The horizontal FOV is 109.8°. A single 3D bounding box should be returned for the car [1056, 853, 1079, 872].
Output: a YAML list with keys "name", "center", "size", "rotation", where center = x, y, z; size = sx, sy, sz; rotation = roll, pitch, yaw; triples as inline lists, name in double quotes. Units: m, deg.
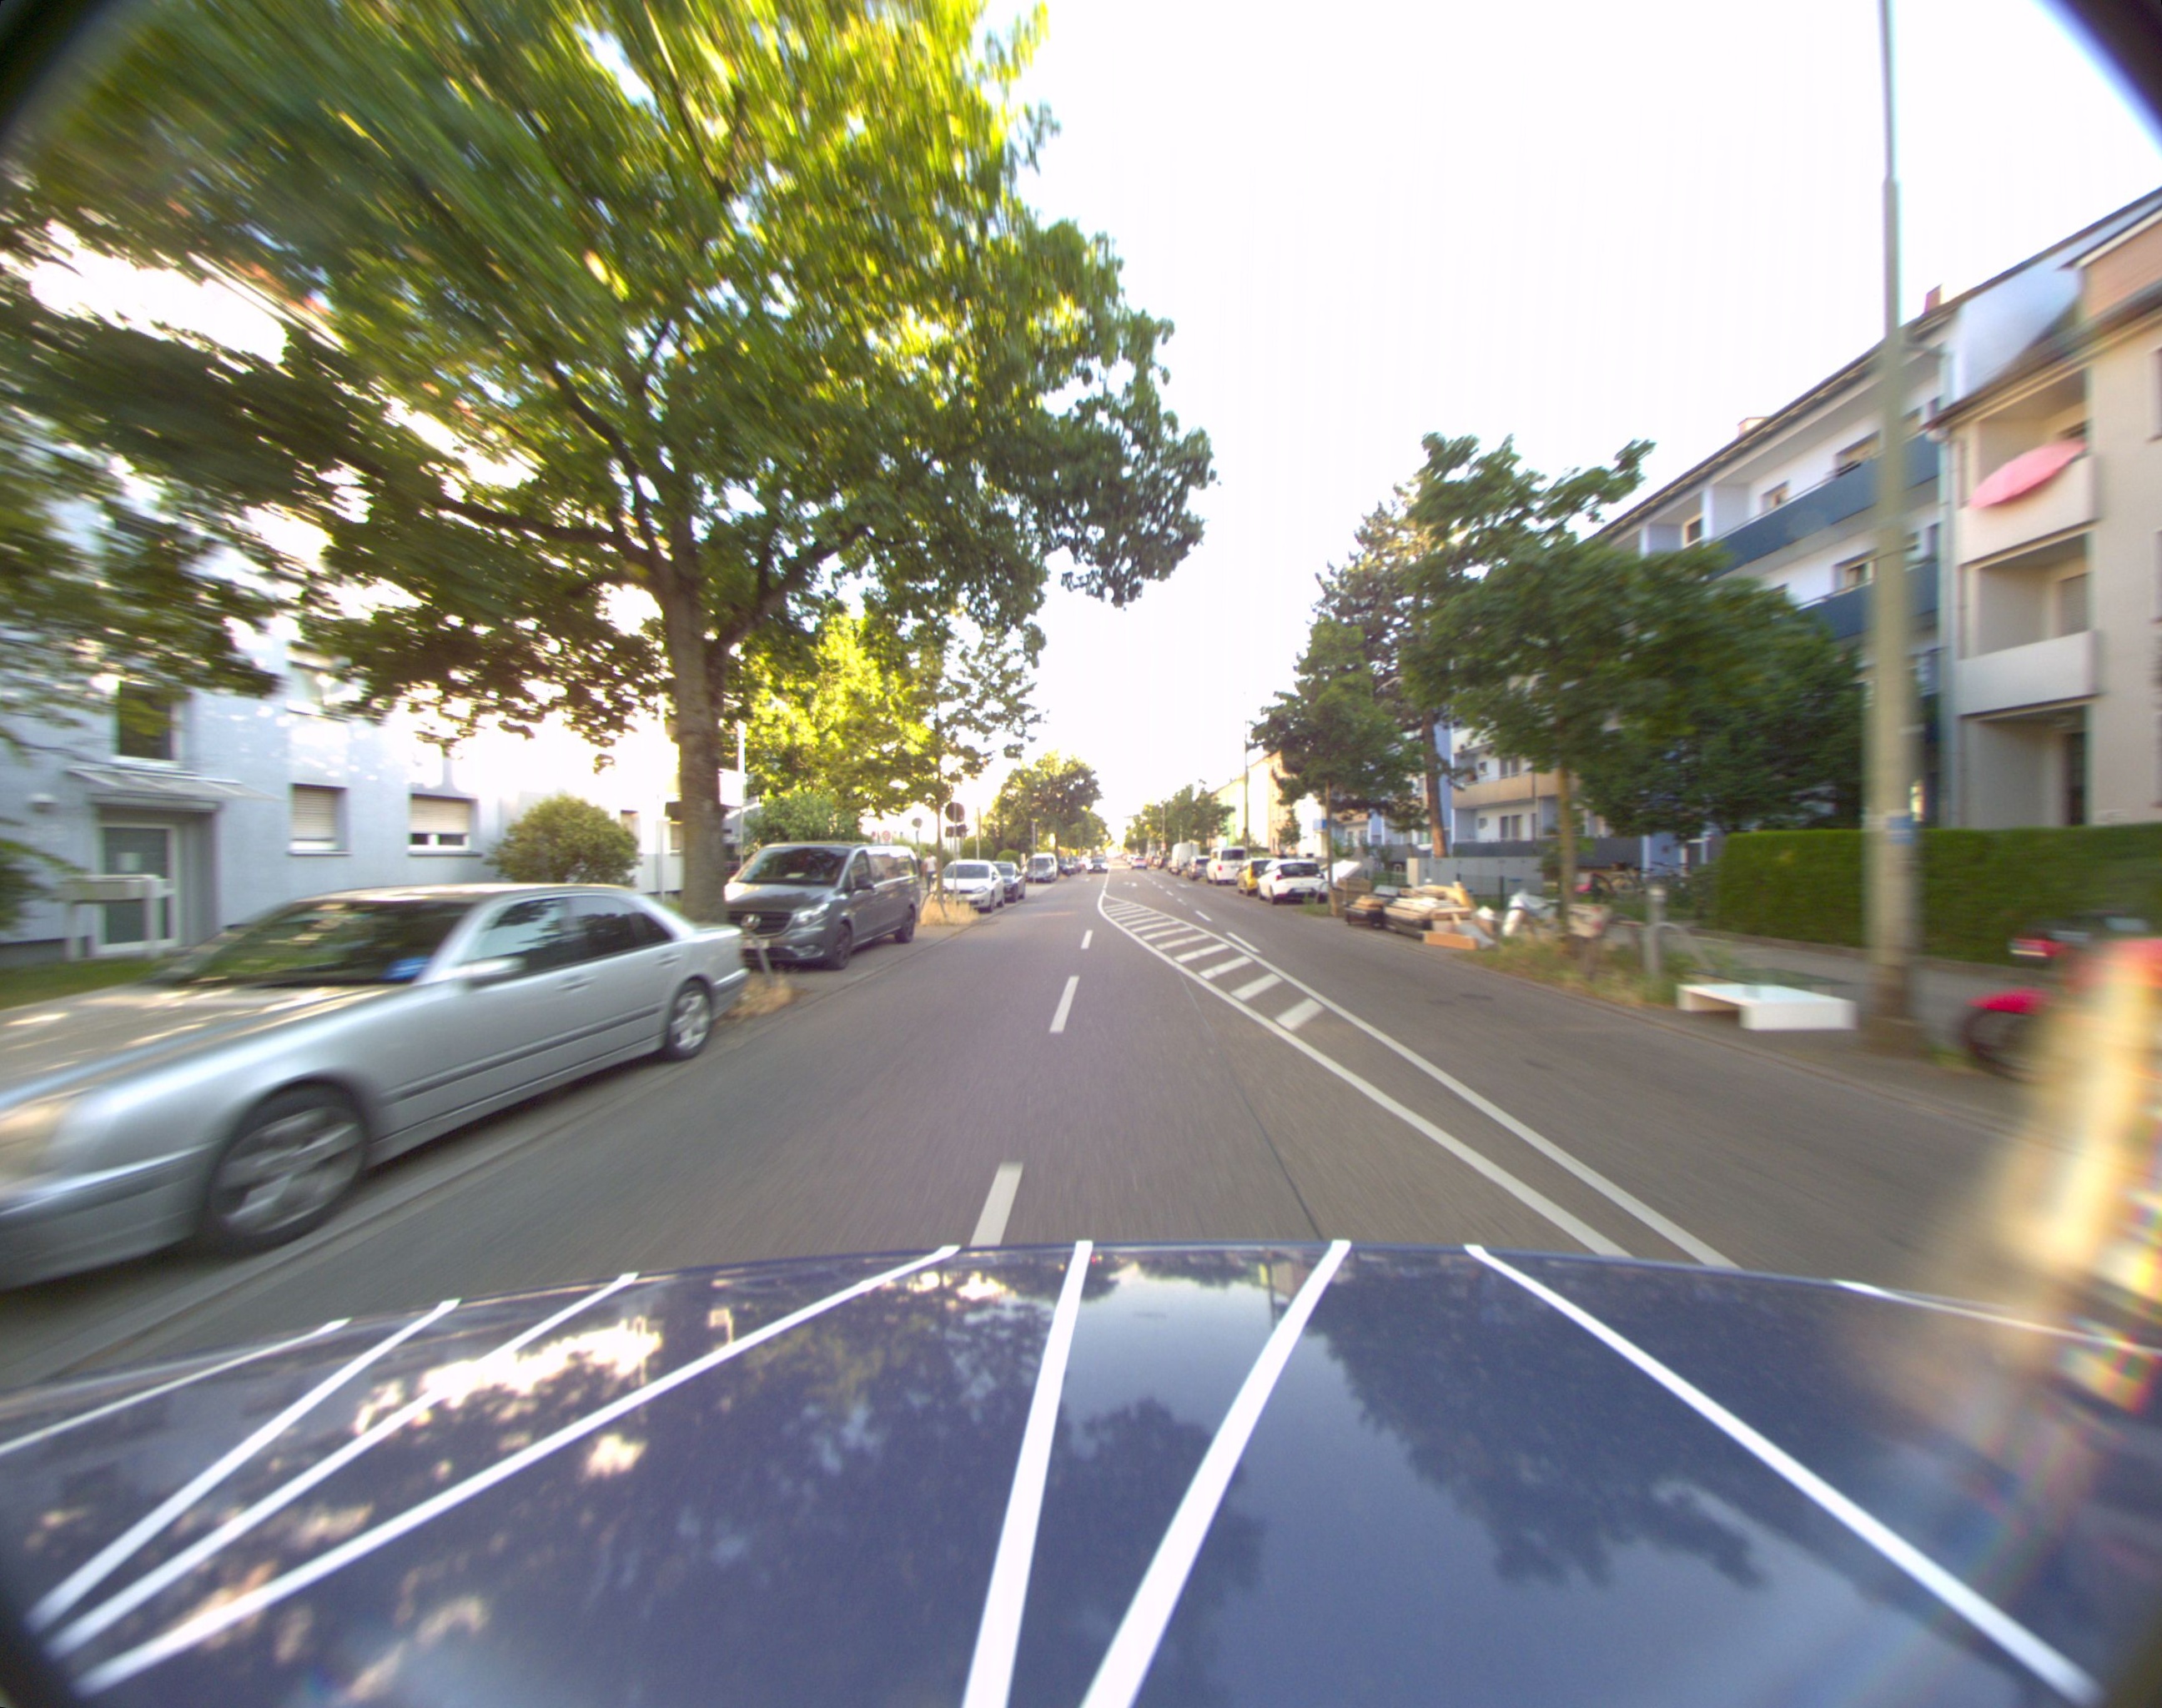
- name: "car"
  center: [-1.184, 0.742, 67.920]
  size: [1.797, 1.558, 3.673]
  rotation: [1, 0, 3]

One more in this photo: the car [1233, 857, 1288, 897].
- name: "car"
  center: [7.237, 0.885, 30.877]
  size: [1.577, 1.460, 3.491]
  rotation: [-2, 0, 4]

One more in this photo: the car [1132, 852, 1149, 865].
- name: "car"
  center: [6.872, 0.525, 87.815]
  size: [1.726, 1.473, 3.957]
  rotation: [0, 0, 2]

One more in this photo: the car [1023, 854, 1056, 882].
- name: "car"
  center: [-2.478, 0.807, 46.468]
  size: [1.798, 1.577, 4.000]
  rotation: [1, 0, 0]

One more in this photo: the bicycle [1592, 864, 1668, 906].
- name: "bicycle"
  center: [15.245, 0.832, 21.143]
  size: [0.533, 1.089, 1.747]
  rotation: [-1, 0, -16]

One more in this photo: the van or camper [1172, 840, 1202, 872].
- name: "van or camper"
  center: [8.828, 0.147, 63.702]
  size: [1.917, 2.528, 5.335]
  rotation: [-1, 0, 3]

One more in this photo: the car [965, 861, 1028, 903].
- name: "car"
  center: [-3.028, 0.977, 28.101]
  size: [1.738, 1.435, 4.340]
  rotation: [0, 0, 1]

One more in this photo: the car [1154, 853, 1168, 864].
- name: "car"
  center: [11.307, 0.633, 107.806]
  size: [1.808, 1.587, 3.957]
  rotation: [-1, 0, 4]

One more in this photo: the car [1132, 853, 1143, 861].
- name: "car"
  center: [9.873, 0.550, 132.218]
  size: [1.808, 1.390, 3.957]
  rotation: [-1, 0, 4]

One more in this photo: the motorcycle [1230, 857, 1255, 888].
- name: "motorcycle"
  center: [7.721, 0.857, 36.279]
  size: [0.792, 1.393, 2.021]
  rotation: [0, 0, 24]

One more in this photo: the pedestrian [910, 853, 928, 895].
- name: "pedestrian"
  center: [-6.666, 0.806, 31.290]
  size: [0.593, 1.718, 0.405]
  rotation: [-1, 1, 2]

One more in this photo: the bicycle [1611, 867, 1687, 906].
- name: "bicycle"
  center: [15.834, 0.886, 21.241]
  size: [0.504, 0.983, 1.747]
  rotation: [-1, 0, -16]

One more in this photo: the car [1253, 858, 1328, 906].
- name: "car"
  center: [7.032, 0.894, 25.826]
  size: [1.684, 1.434, 3.882]
  rotation: [-2, 0, 4]

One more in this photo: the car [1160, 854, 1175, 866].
- name: "car"
  center: [10.265, 0.705, 89.843]
  size: [1.762, 1.439, 3.787]
  rotation: [-1, 0, 7]

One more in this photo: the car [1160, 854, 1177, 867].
- name: "car"
  center: [9.901, 0.693, 85.900]
  size: [1.762, 1.439, 3.592]
  rotation: [-1, 0, 7]

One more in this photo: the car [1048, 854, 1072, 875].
- name: "car"
  center: [-1.640, 0.790, 60.465]
  size: [1.798, 1.558, 3.672]
  rotation: [1, 0, 0]

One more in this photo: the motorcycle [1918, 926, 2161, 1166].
- name: "motorcycle"
  center: [6.019, 1.074, 4.073]
  size: [0.640, 1.129, 2.173]
  rotation: [-3, 0, 0]

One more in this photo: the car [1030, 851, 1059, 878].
- name: "car"
  center: [-2.441, 0.664, 51.860]
  size: [1.798, 1.761, 4.000]
  rotation: [1, 0, 0]

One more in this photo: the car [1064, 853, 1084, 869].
- name: "car"
  center: [-0.704, 0.672, 77.236]
  size: [1.797, 1.558, 3.673]
  rotation: [1, 0, 3]

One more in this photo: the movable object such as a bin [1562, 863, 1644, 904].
- name: "movable object such as a bin"
  center: [13.937, 0.772, 20.336]
  size: [1.465, 1.043, 1.061]
  rotation: [-1, 0, 3]

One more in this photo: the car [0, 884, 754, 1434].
- name: "car"
  center: [-4.065, 1.040, 4.573]
  size: [1.788, 1.495, 4.832]
  rotation: [-1, 0, 4]

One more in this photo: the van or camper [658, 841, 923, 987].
- name: "van or camper"
  center: [-4.222, 0.807, 12.222]
  size: [1.998, 1.831, 5.261]
  rotation: [-1, -1, 3]

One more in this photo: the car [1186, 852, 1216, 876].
- name: "car"
  center: [8.613, 0.697, 54.911]
  size: [1.808, 1.582, 3.957]
  rotation: [-1, 0, 4]

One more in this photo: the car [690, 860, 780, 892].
- name: "car"
  center: [-18.791, 1.158, 41.407]
  size: [3.998, 1.547, 1.998]
  rotation: [-1, 3, -4]

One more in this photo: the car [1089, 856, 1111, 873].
- name: "car"
  center: [1.743, 0.992, 71.557]
  size: [1.998, 1.525, 4.000]
  rotation: [-1, 0, 1]

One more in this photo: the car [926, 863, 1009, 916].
- name: "car"
  center: [-3.291, 0.985, 22.805]
  size: [1.738, 1.435, 4.305]
  rotation: [0, 0, 1]

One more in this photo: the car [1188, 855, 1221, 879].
- name: "car"
  center: [8.054, 0.805, 49.825]
  size: [1.808, 1.489, 3.957]
  rotation: [-1, 0, 4]

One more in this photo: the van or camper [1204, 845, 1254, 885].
- name: "van or camper"
  center: [7.935, 0.541, 41.111]
  size: [1.808, 2.002, 4.865]
  rotation: [-1, 0, 1]
